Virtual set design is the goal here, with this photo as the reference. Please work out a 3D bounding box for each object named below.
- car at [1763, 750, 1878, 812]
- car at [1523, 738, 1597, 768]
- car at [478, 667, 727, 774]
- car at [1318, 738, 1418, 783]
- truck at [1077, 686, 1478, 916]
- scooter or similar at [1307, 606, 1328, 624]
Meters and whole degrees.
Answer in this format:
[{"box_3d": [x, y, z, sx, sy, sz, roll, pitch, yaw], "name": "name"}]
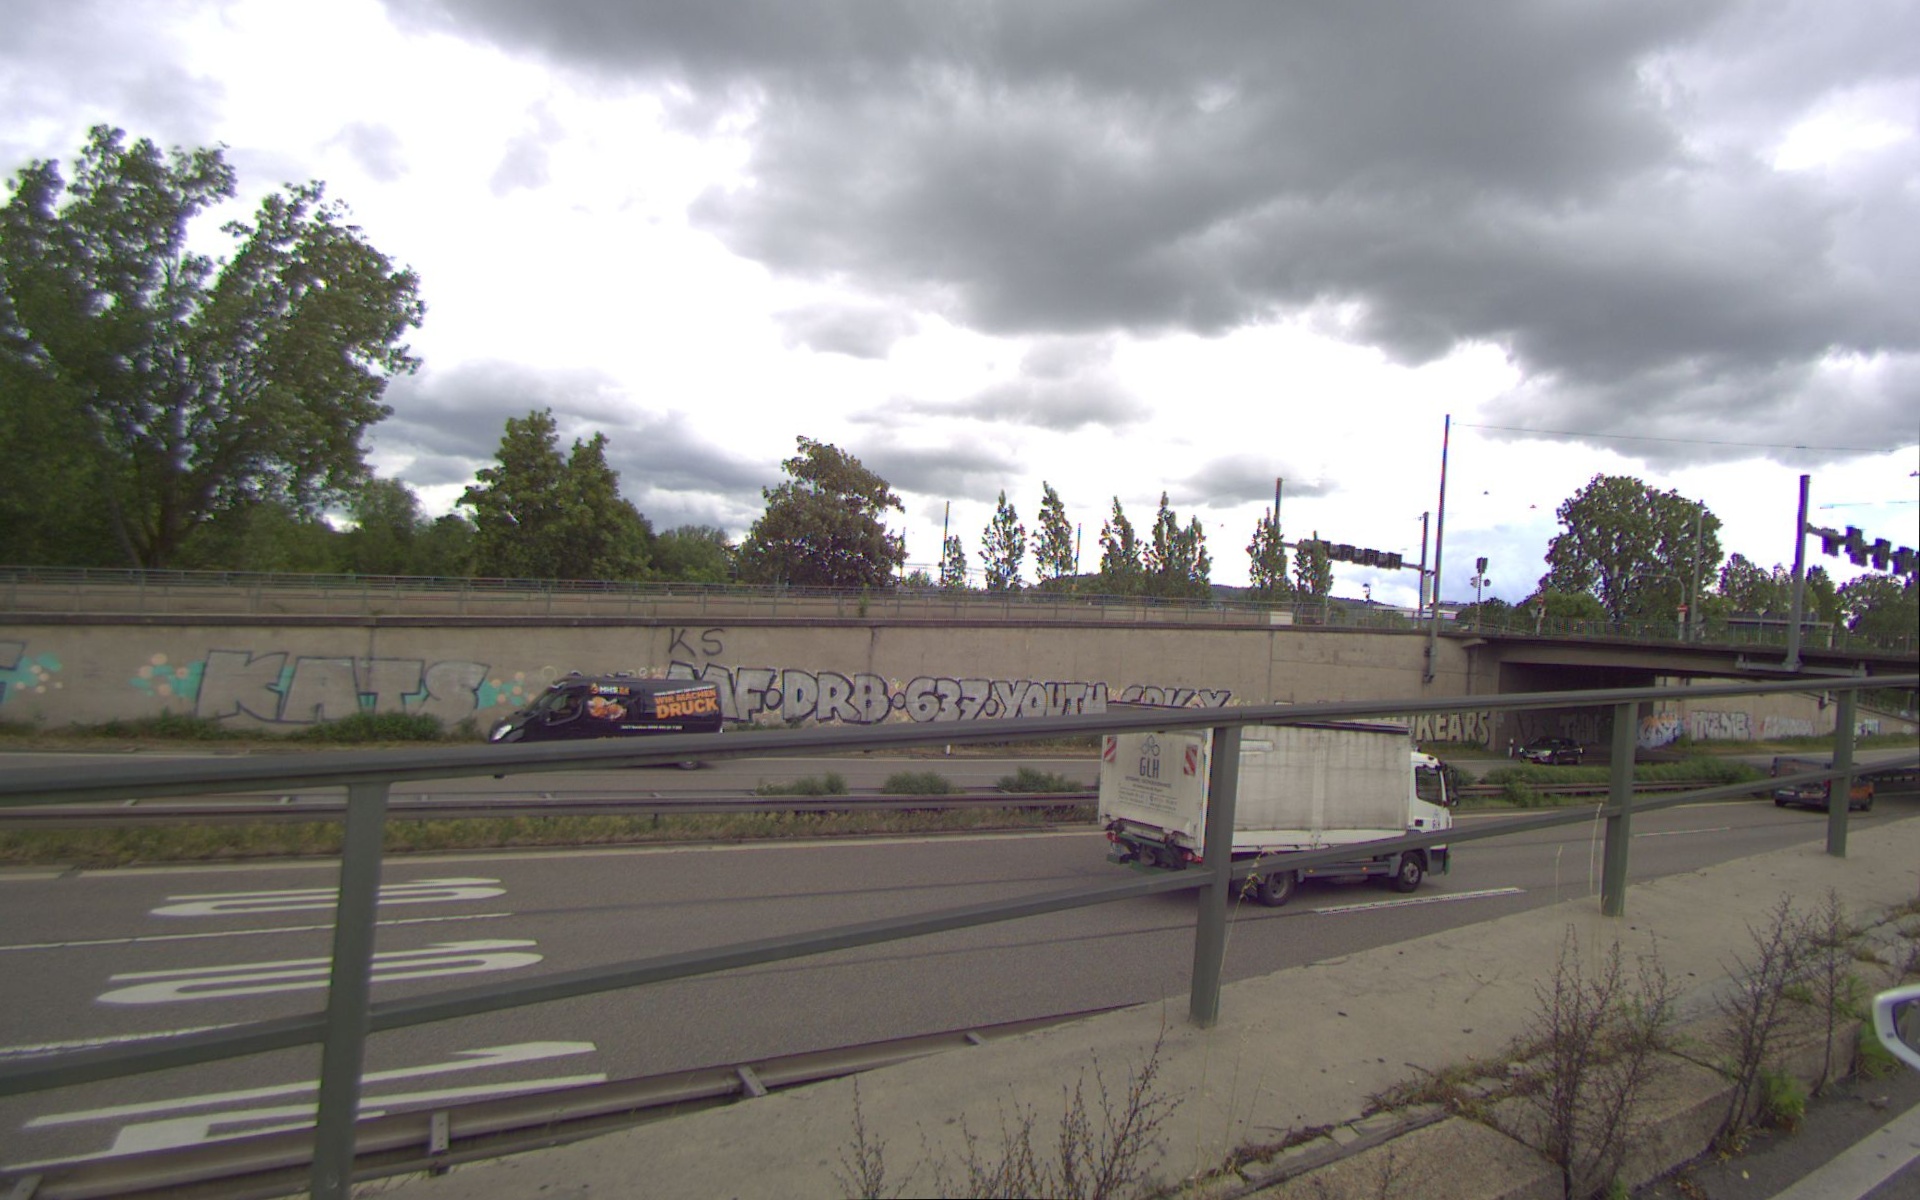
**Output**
[{"box_3d": [33.783, 7.045, 39.406, 4.903, 2.028, 1.889, 5, -2, -30], "name": "car"}, {"box_3d": [32.053, 8.159, 53.632, 4.065, 1.393, 1.702, 6, -4, -31], "name": "car"}, {"box_3d": [-9.845, 3.347, 27.885, 6.047, 2.580, 2.232, 5, -2, -31], "name": "car"}, {"box_3d": [16.120, 6.323, 39.634, 3.815, 1.520, 1.656, 6, -4, -30], "name": "car"}, {"box_3d": [6.003, 3.473, 18.524, 7.357, 3.335, 2.733, 5, -3, -30], "name": "truck"}, {"box_3d": [22.566, 0.949, 63.423, 1.403, 1.108, 0.539, 4, -2, -37], "name": "scooter or similar"}]
